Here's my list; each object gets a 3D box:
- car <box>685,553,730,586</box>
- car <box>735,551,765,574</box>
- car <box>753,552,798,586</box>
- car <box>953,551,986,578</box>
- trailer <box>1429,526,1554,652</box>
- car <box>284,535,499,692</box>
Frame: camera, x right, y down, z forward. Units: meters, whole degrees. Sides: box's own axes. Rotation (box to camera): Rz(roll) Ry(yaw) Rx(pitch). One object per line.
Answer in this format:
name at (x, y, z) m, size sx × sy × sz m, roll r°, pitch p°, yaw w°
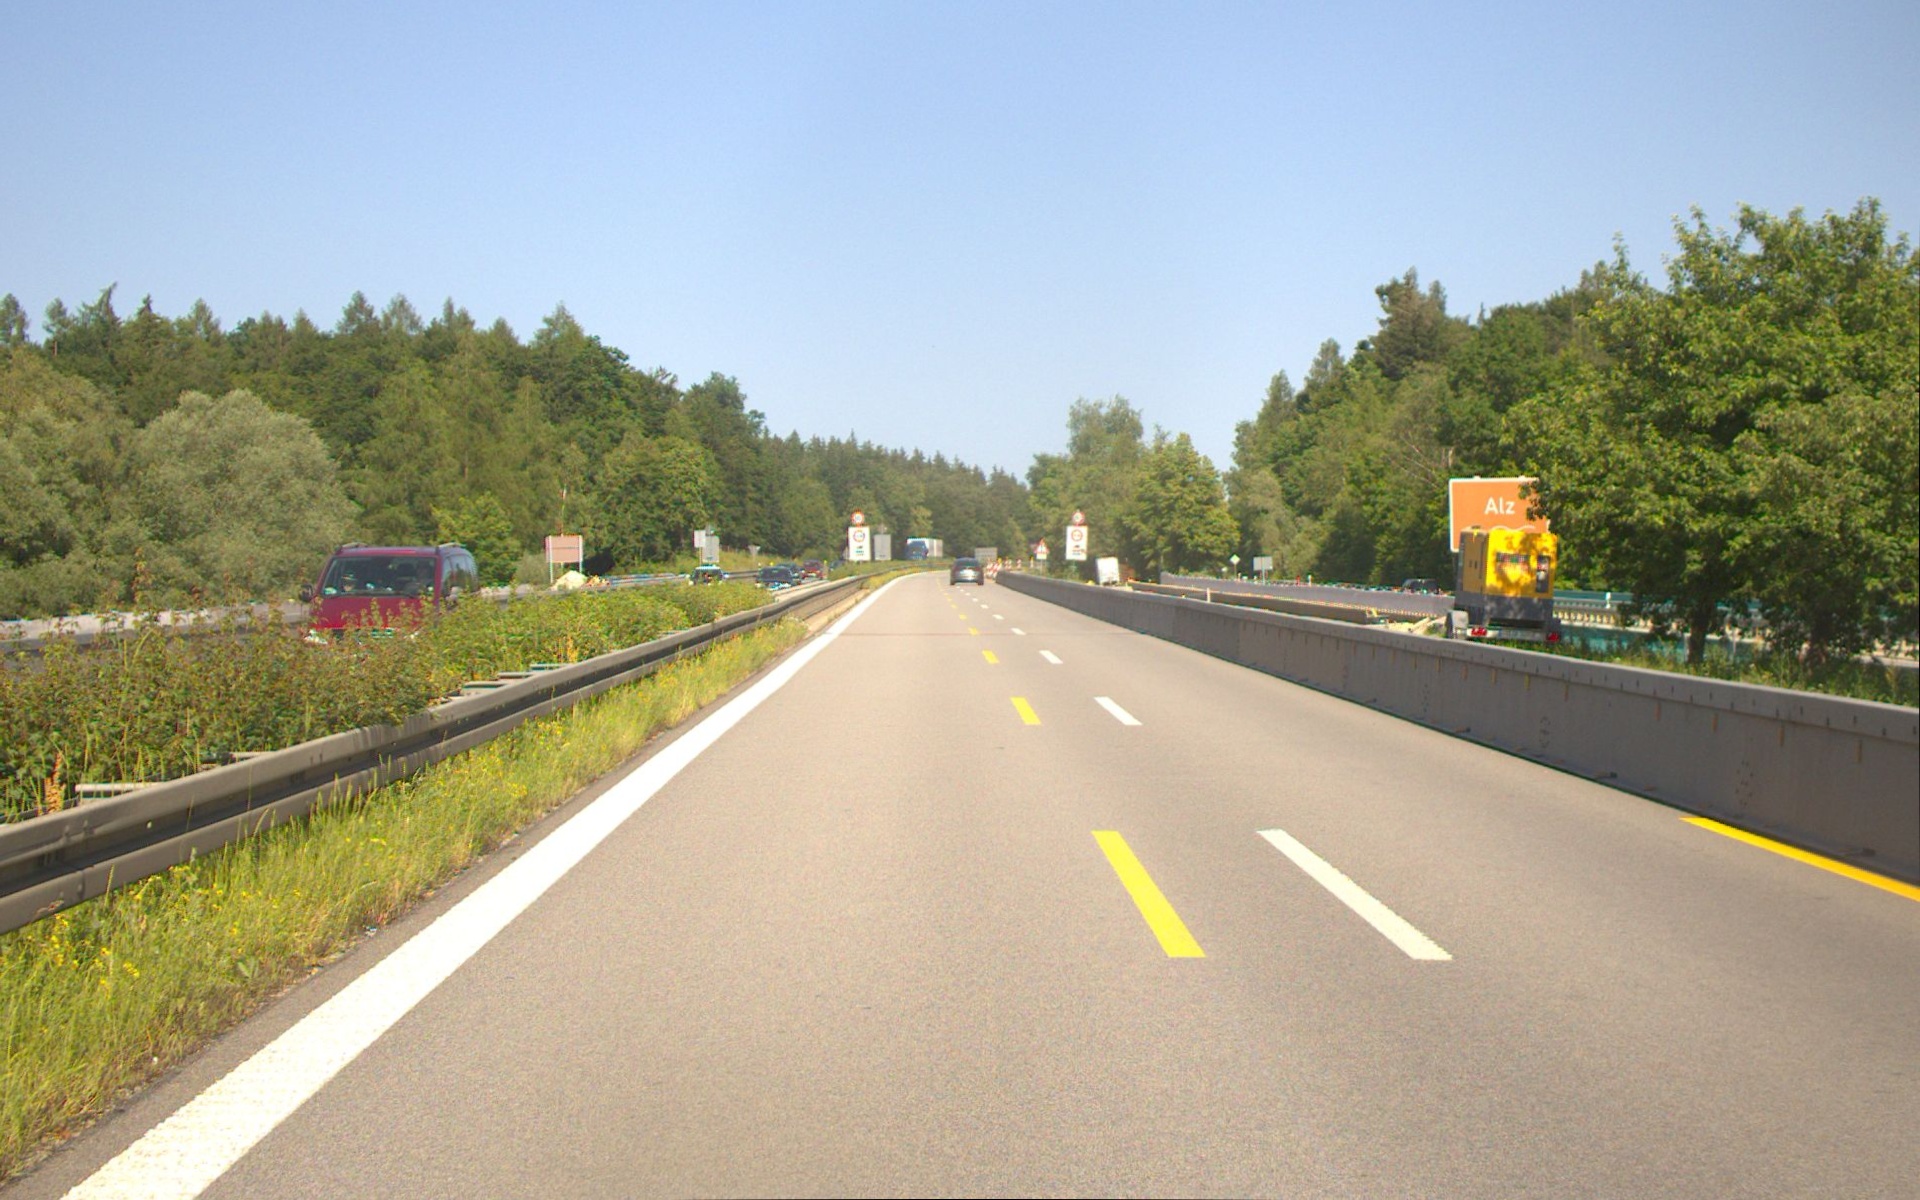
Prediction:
car at (-11.173, -1.359, 152.322) m, size 1.682 × 1.388 × 4.193 m, roll -1°, pitch 1°, yaw -1°
car at (-13.949, -2.494, 228.280) m, size 1.744 × 1.461 × 4.910 m, roll -1°, pitch 1°, yaw -1°
car at (-7.997, -1.359, 149.457) m, size 1.646 × 1.372 × 4.808 m, roll -1°, pitch 1°, yaw 0°
car at (0.497, -1.986, 190.005) m, size 1.744 × 1.461 × 4.294 m, roll -1°, pitch 1°, yaw -1°
trailer at (8.230, -0.202, 53.442) m, size 1.125 × 1.867 × 4.001 m, roll -1°, pitch 1°, yaw -3°
car at (-7.590, 0.131, 46.408) m, size 1.874 × 1.967 × 5.577 m, roll 1°, pitch 1°, yaw 1°
